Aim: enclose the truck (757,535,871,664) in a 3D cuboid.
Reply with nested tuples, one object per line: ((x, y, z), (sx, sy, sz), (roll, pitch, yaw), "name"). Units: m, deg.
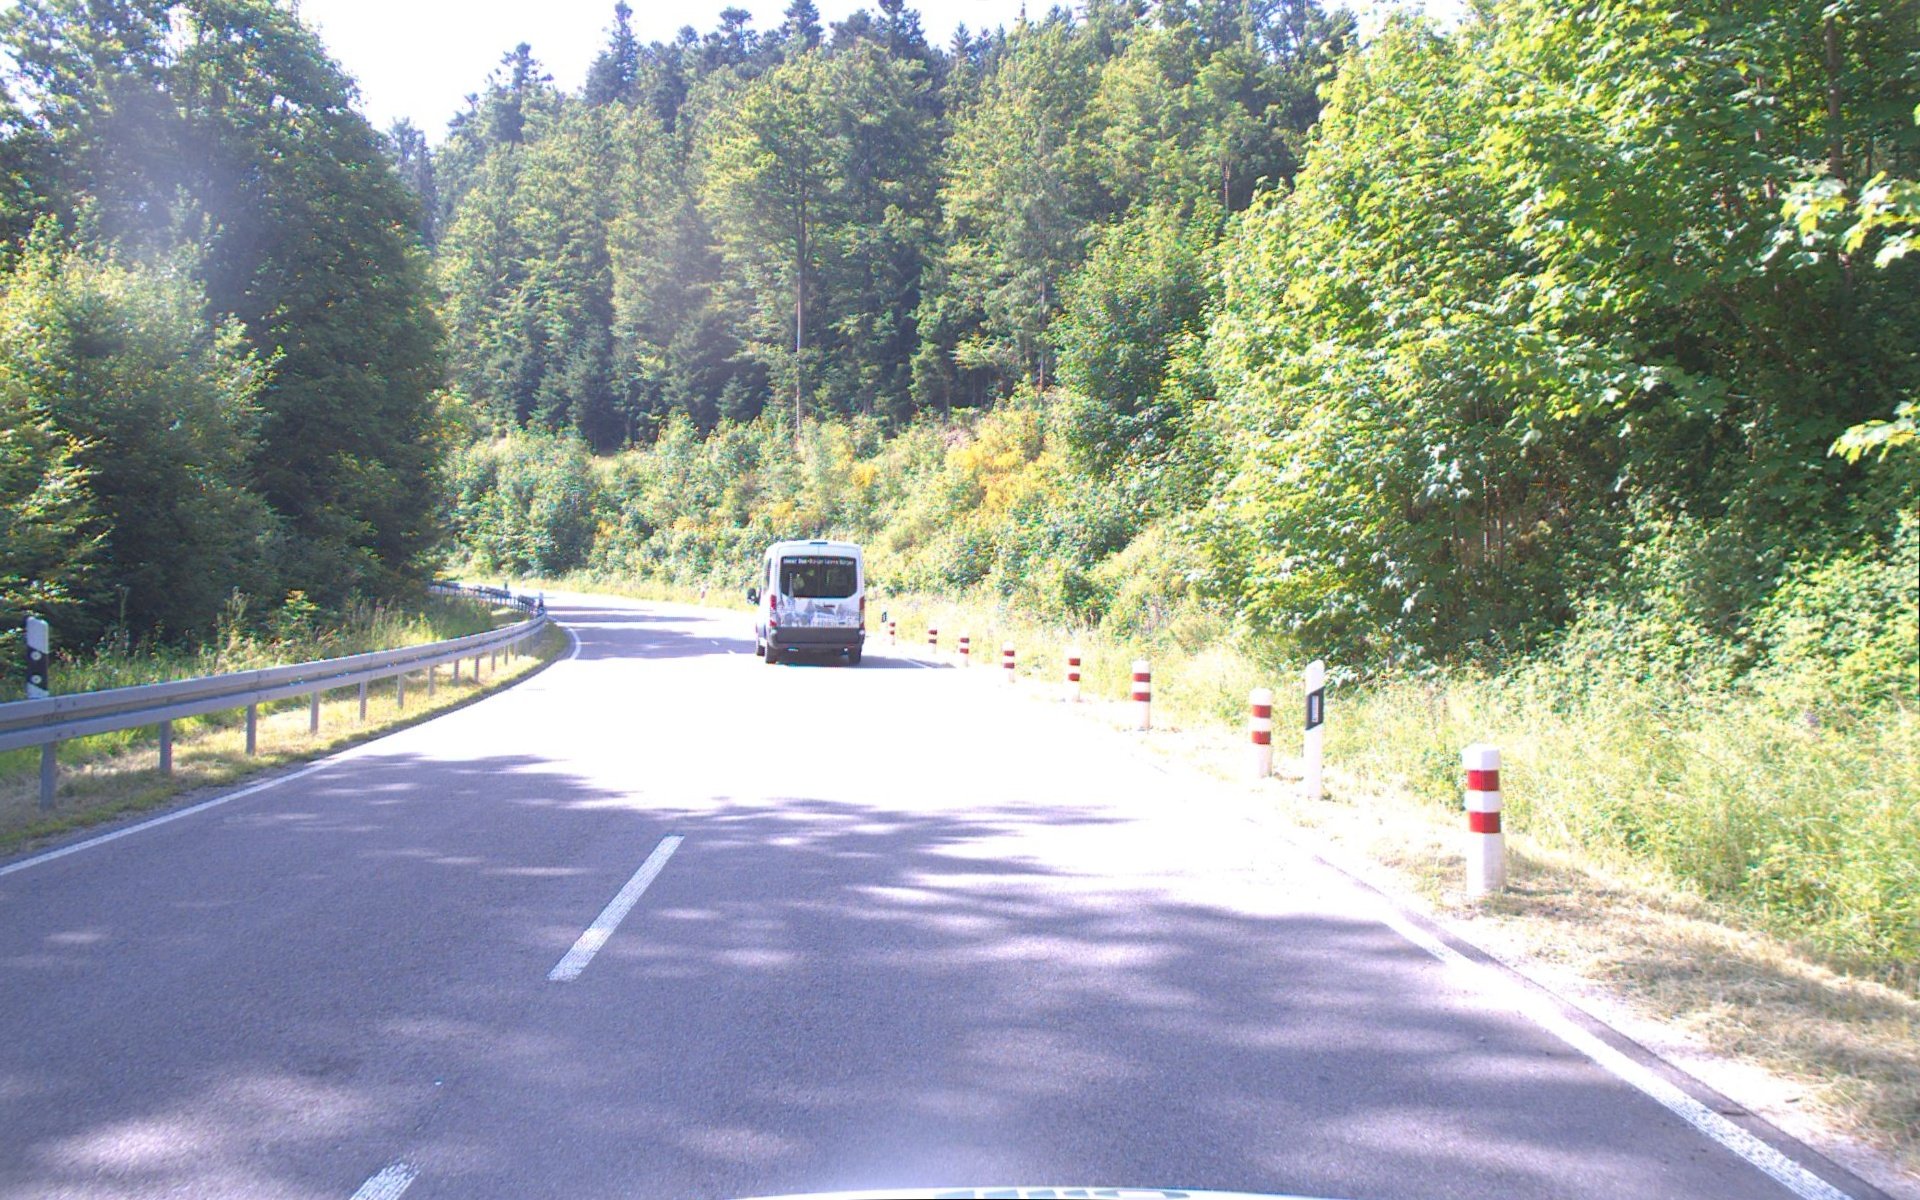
((-3.213, -0.052, 35.449), (2.076, 2.542, 5.348), (0, 1, -9), "truck")
